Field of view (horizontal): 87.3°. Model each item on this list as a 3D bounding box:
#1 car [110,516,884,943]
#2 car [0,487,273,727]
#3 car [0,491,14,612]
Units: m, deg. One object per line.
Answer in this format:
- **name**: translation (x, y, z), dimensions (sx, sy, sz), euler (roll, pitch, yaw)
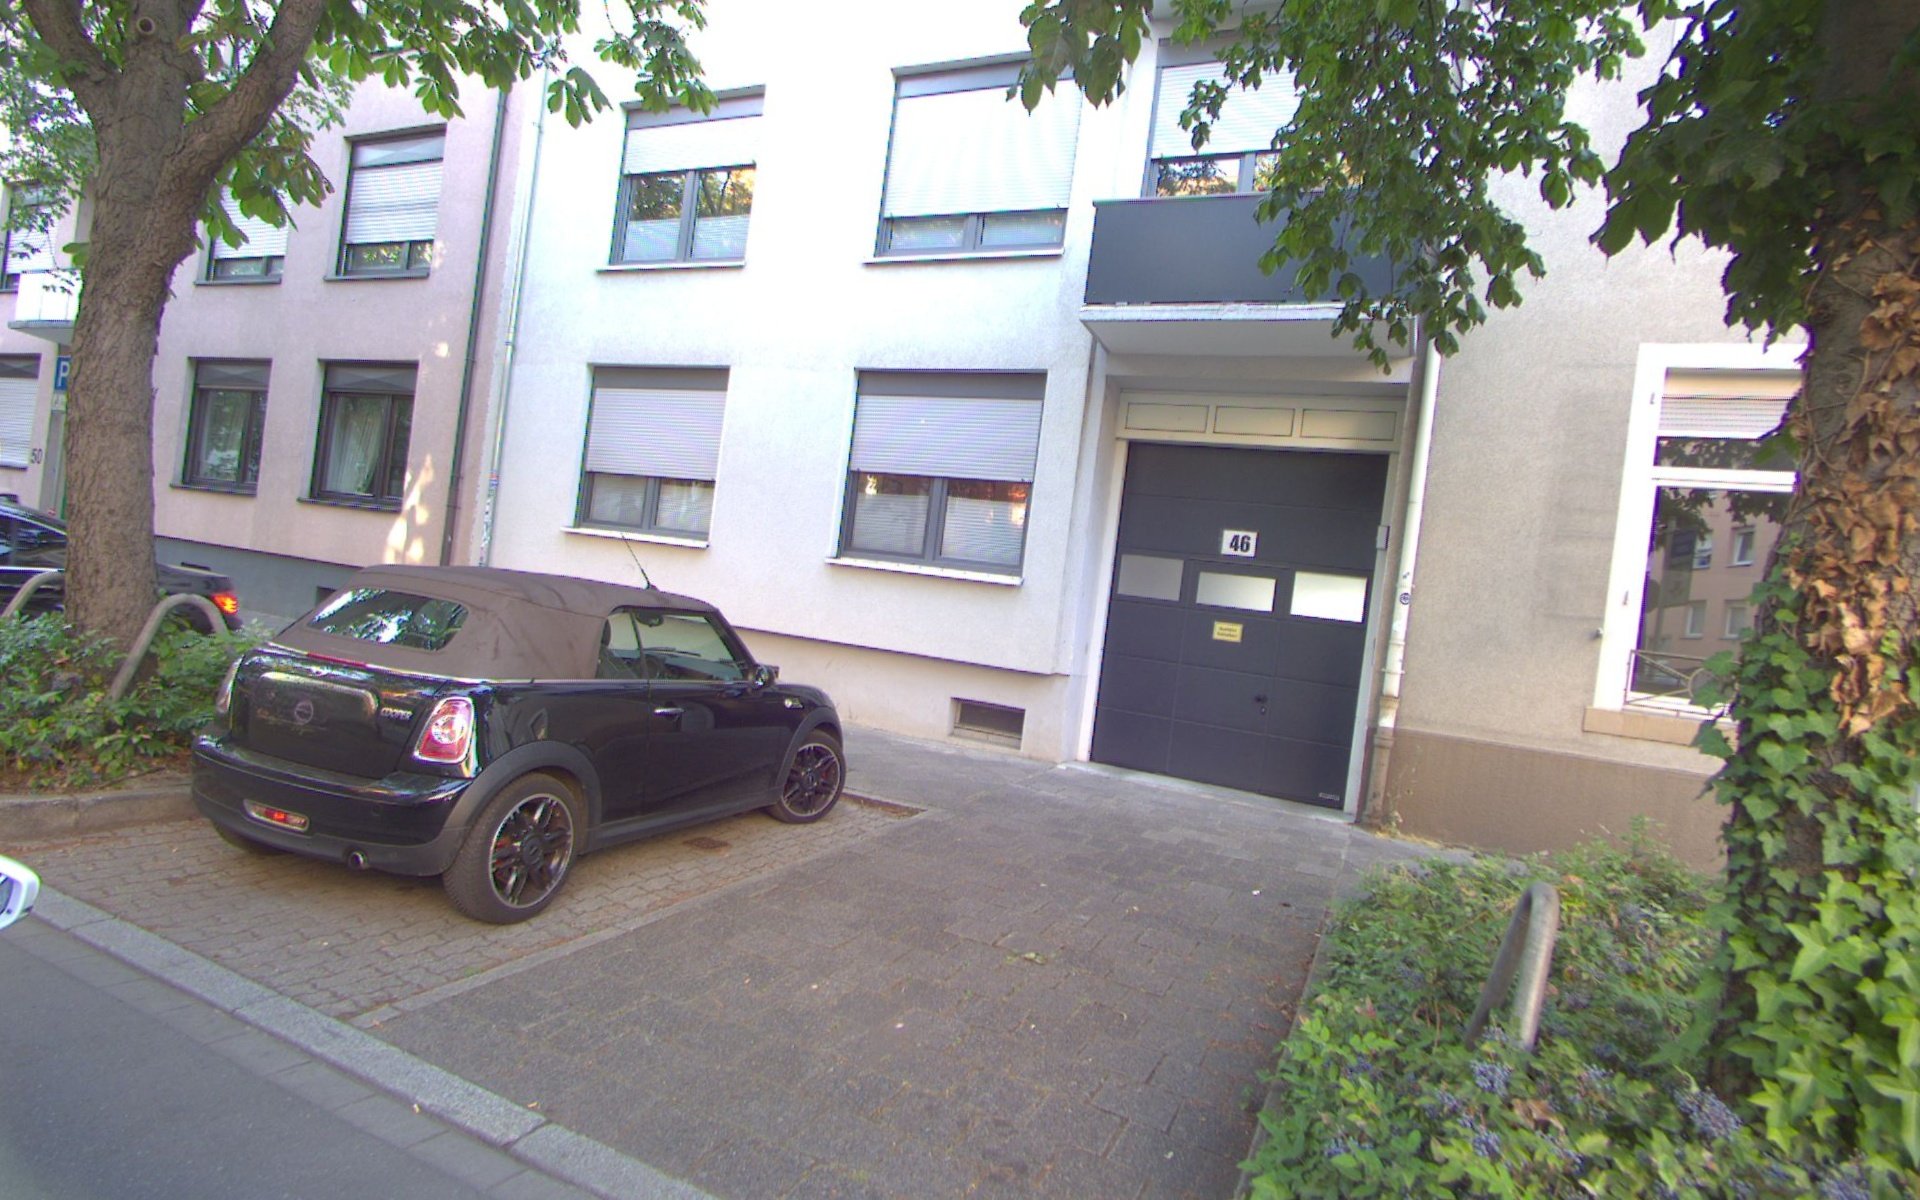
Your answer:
- **car**: translation (-2.020, 0.545, 5.526), dimensions (1.634, 1.380, 3.622), euler (7, -1, 22)
- **car**: translation (-7.161, -0.112, 5.928), dimensions (1.769, 1.497, 4.755), euler (7, -1, 29)
- **car**: translation (-13.352, -0.810, 11.035), dimensions (1.634, 1.494, 3.921), euler (7, -1, 24)
